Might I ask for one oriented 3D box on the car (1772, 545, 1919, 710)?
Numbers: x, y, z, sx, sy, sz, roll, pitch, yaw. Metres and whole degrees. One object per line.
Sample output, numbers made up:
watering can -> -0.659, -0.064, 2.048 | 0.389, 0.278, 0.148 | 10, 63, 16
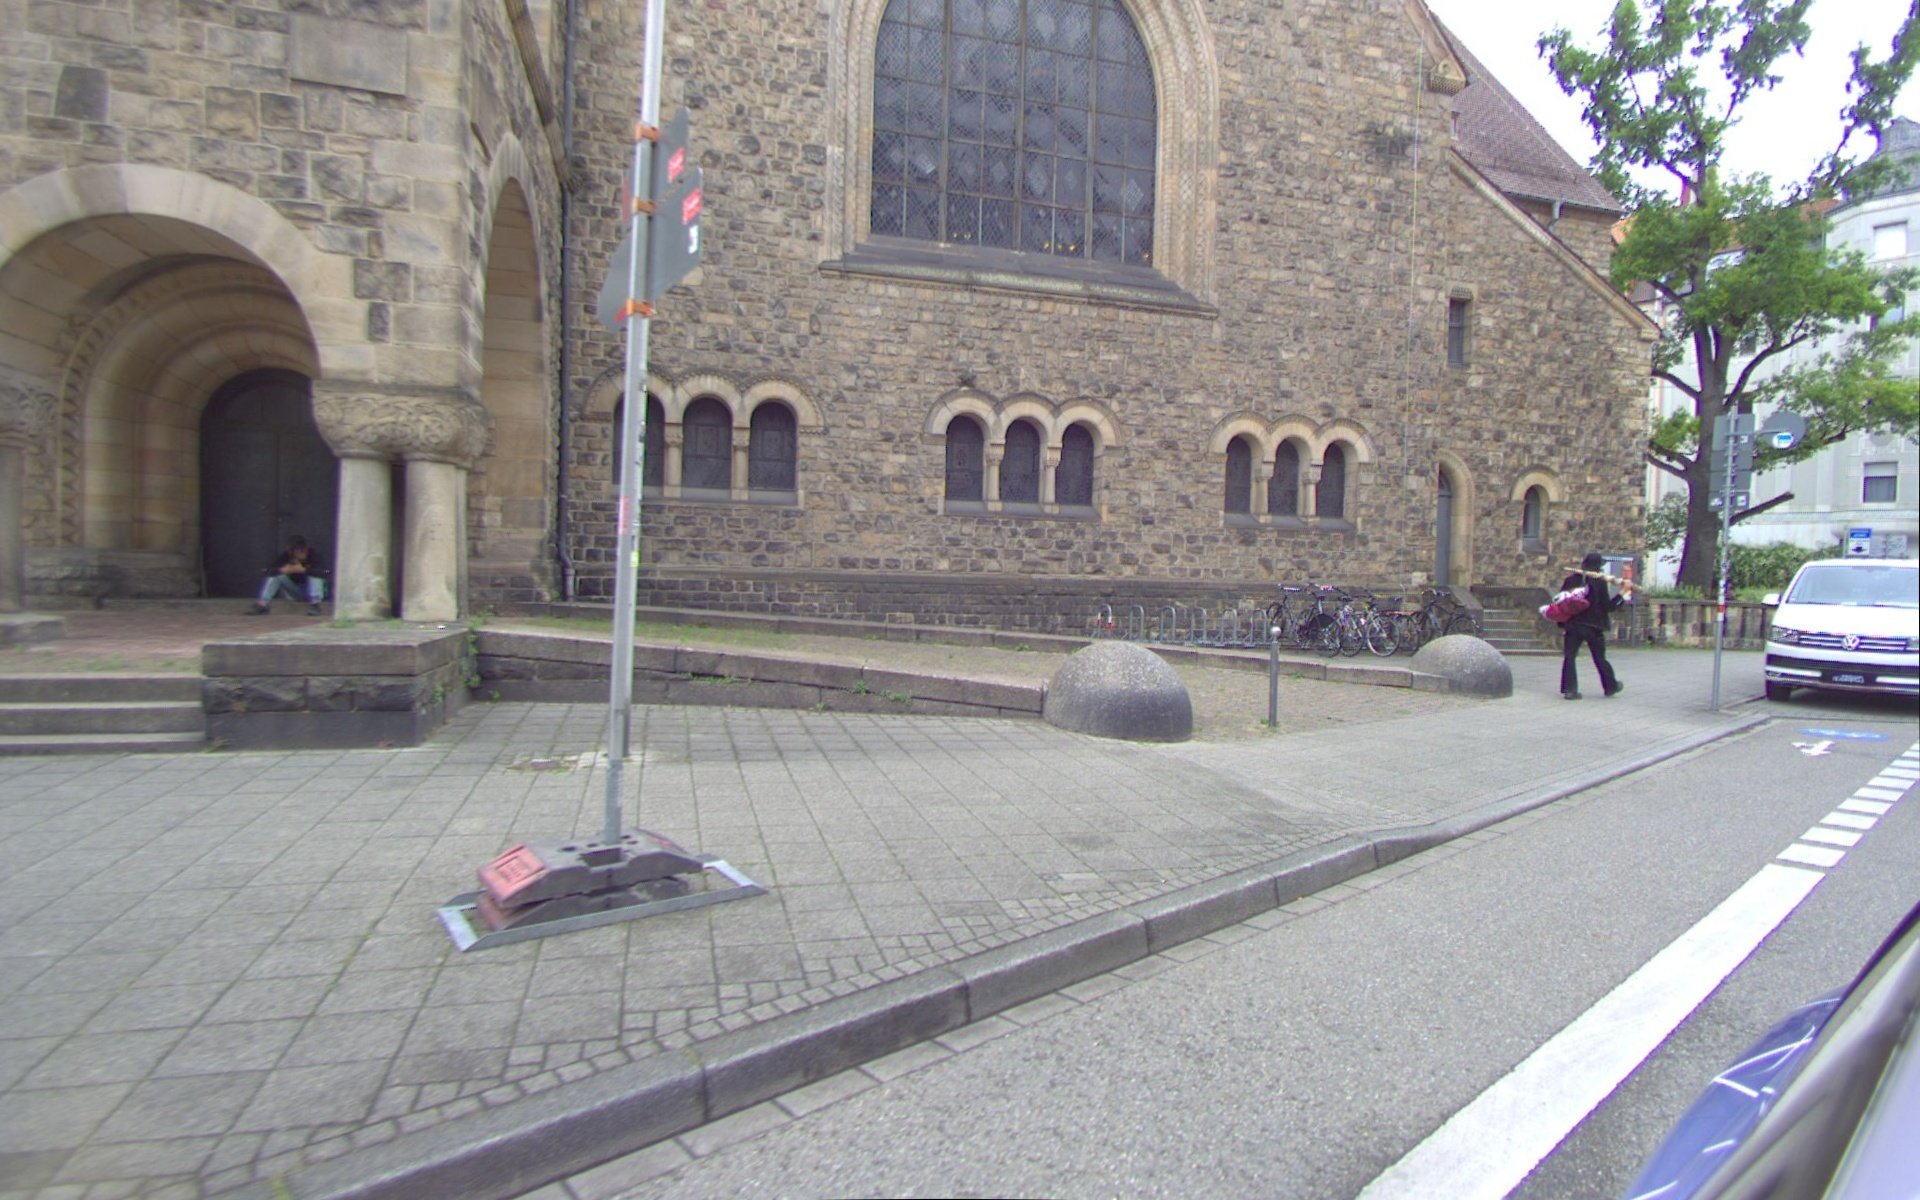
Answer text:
car -> 12.968, 0.304, 14.025 | 5.074, 1.943, 1.808 | 0, 2, -42

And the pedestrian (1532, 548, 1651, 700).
pedestrian -> 7.959, 0.268, 12.779 | 0.998, 1.831, 0.818 | -1, 2, -19

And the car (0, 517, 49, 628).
car -> -17.463, -0.482, 16.573 | 3.394, 1.815, 1.691 | 1, 2, -14

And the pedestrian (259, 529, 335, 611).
pedestrian -> -8.090, -0.362, 12.370 | 0.602, 0.963, 0.675 | 1, 1, -18

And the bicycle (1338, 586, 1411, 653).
bicycle -> 7.073, 0.317, 17.309 | 0.304, 1.073, 1.387 | 1, 2, -18

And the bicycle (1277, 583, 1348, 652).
bicycle -> 5.850, 0.277, 16.864 | 0.304, 1.073, 1.387 | 1, 2, -18

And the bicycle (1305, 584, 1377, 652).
bicycle -> 6.410, 0.287, 17.076 | 0.304, 1.073, 1.387 | 1, 2, -18

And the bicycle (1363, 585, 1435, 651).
bicycle -> 7.635, 0.292, 17.652 | 0.304, 1.073, 1.347 | 1, 2, -18

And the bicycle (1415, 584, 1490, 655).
bicycle -> 8.570, 0.319, 17.651 | 0.304, 1.161, 1.347 | 1, 2, -18
